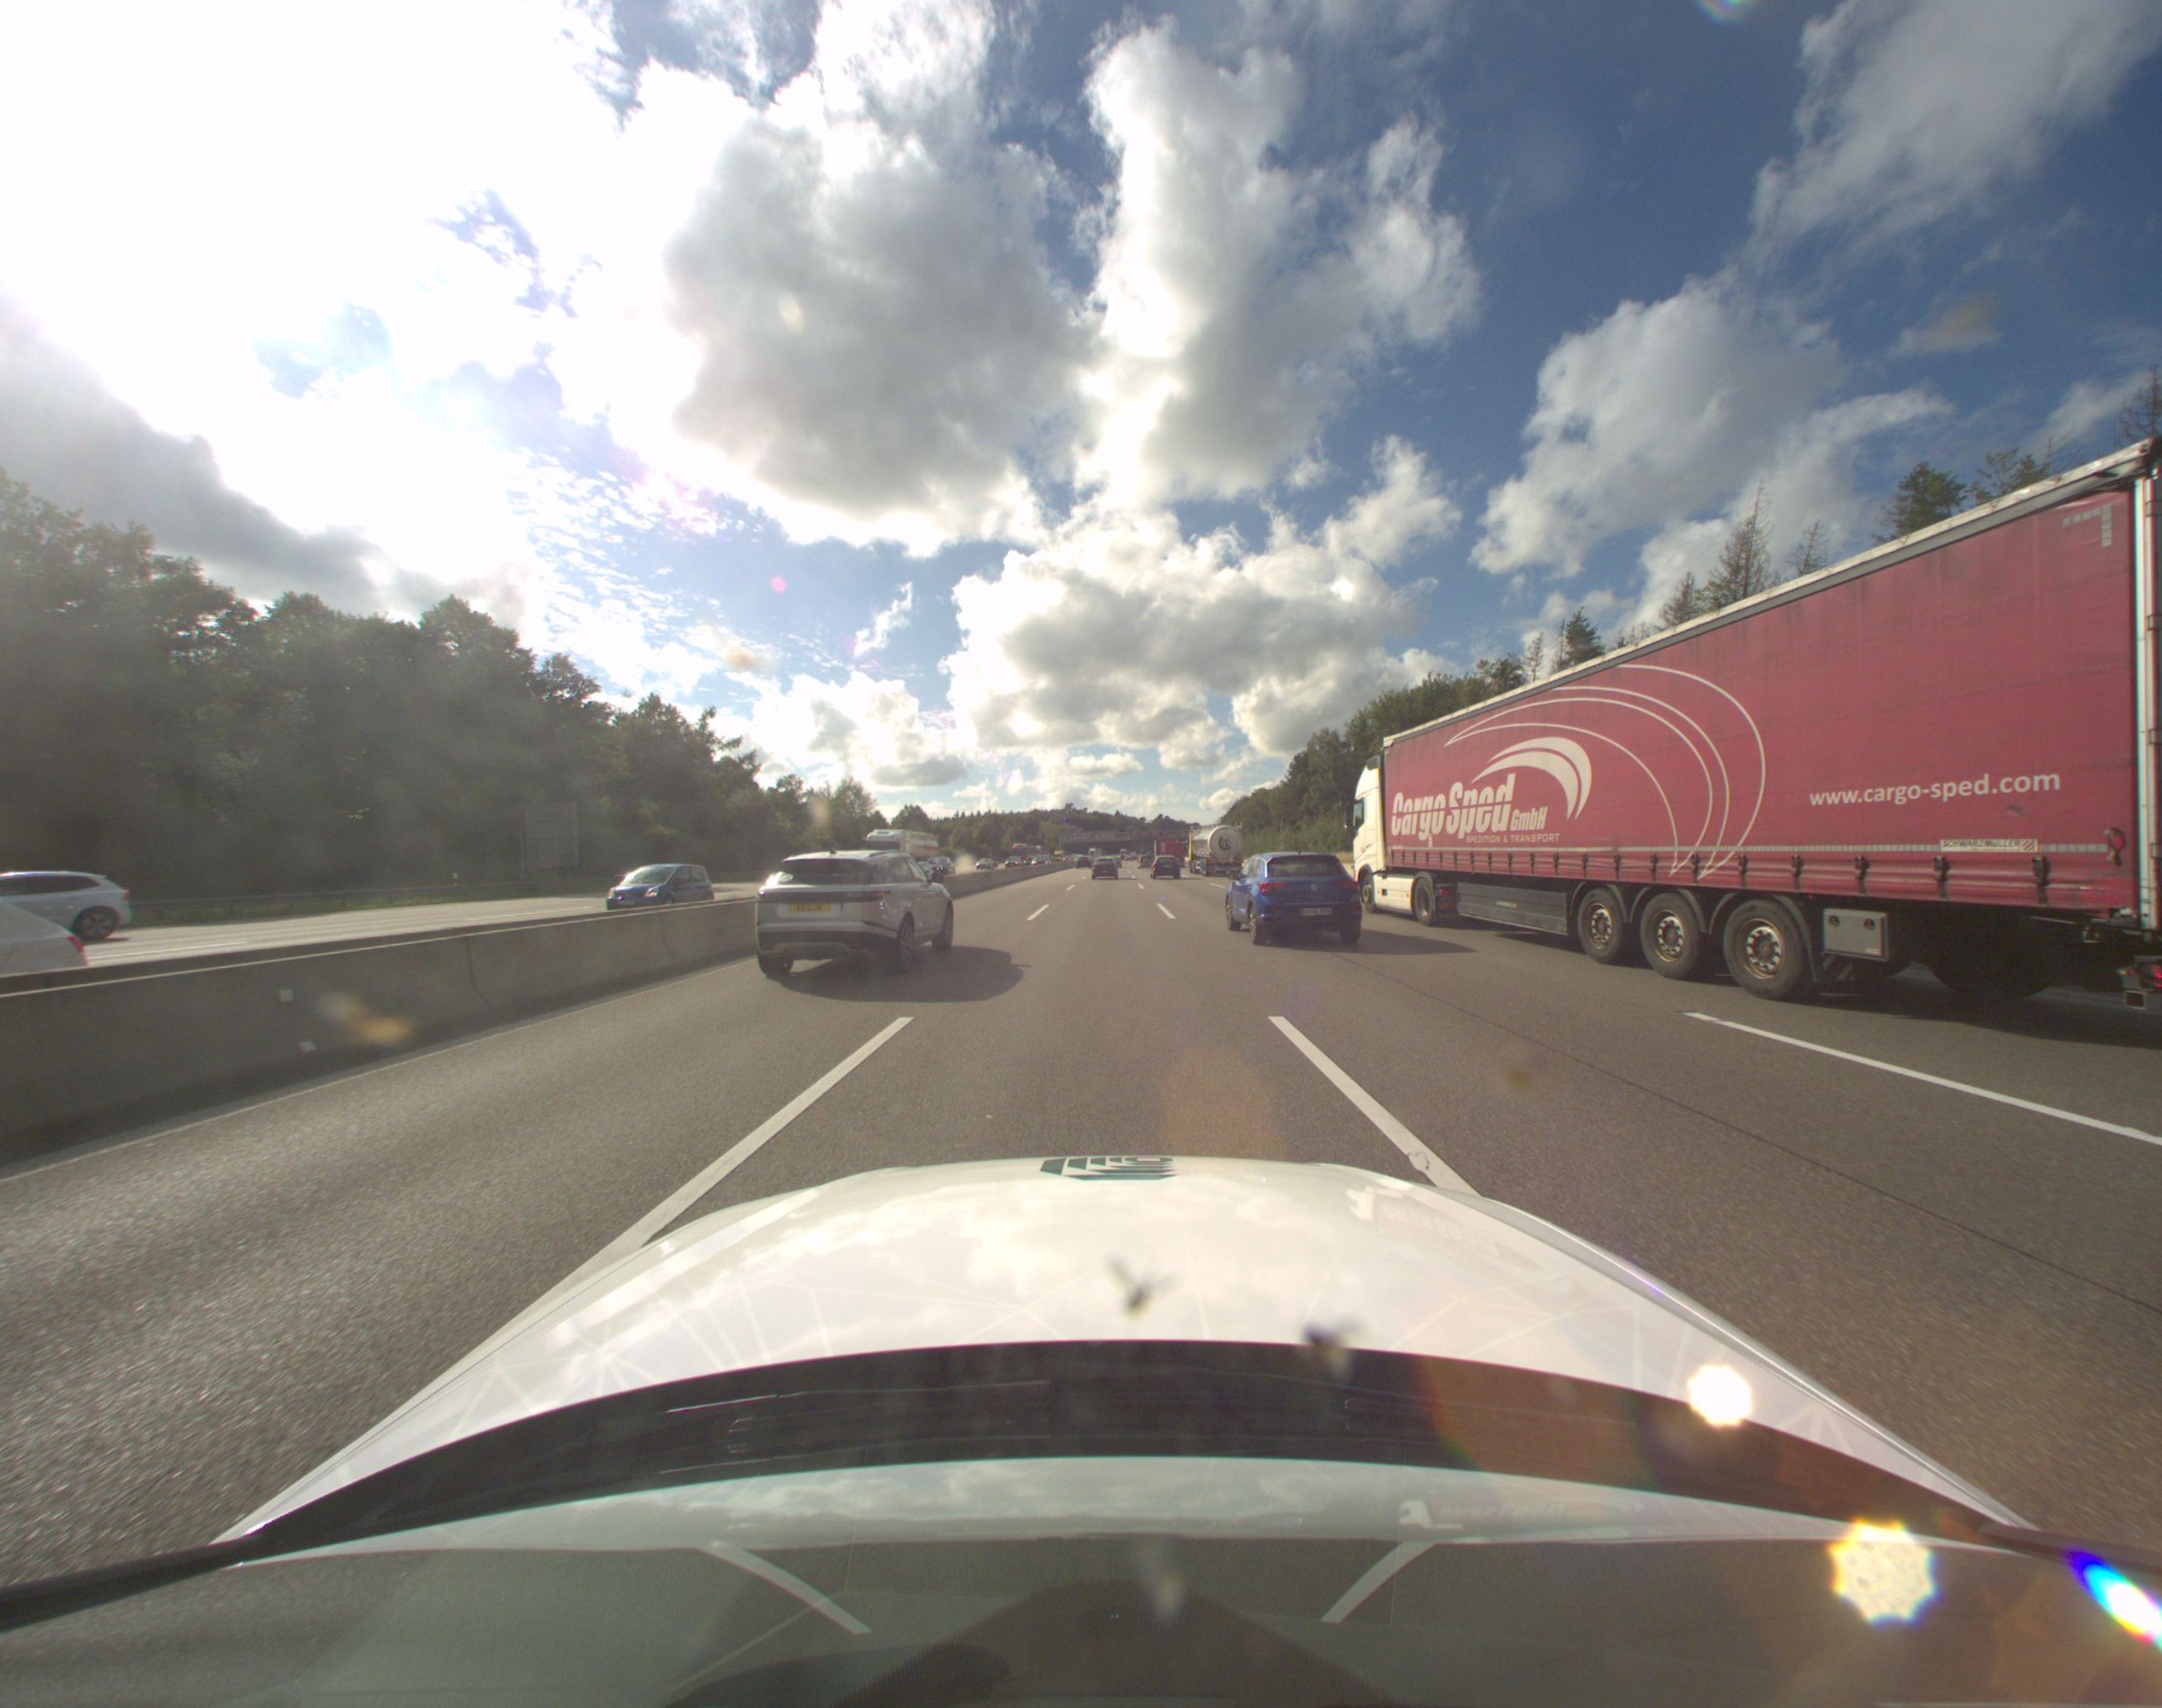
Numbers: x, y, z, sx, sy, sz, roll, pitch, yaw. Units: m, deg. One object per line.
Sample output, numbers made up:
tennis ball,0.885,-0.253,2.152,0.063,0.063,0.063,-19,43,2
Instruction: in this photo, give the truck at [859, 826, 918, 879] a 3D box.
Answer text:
truck,-15.084,-0.107,64.310,2.776,3.945,6.450,-1,0,3

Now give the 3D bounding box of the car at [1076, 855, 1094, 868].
car,0.484,0.881,100.493,1.934,1.457,4.003,-2,0,3

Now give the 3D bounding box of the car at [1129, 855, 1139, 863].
car,11.050,1.006,170.889,1.935,1.457,4.001,-2,0,1

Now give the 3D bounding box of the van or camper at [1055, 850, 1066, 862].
van or camper,-5.112,0.466,202.882,2.365,2.891,6.508,-2,0,2

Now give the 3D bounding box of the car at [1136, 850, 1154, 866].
car,7.464,0.437,95.463,1.887,1.857,4.102,0,0,1

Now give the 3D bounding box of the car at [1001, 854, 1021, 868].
car,-9.287,0.902,108.401,1.986,1.664,4.689,-2,0,2

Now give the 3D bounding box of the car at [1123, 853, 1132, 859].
car,11.804,0.590,205.807,2.070,1.457,4.001,-2,0,1

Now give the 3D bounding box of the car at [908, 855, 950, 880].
car,-10.876,0.931,58.588,1.848,1.670,5.213,-2,0,2

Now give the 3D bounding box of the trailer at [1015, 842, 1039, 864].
trailer,-9.829,-0.223,149.508,2.954,3.858,11.293,-1,0,4

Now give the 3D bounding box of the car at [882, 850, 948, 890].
car,-8.367,0.776,41.590,2.163,1.878,4.983,-2,0,2

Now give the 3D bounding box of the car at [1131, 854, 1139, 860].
car,15.103,0.896,228.256,2.070,1.457,4.001,-2,0,1

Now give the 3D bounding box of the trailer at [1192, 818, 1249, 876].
trailer,10.038,-0.443,59.932,2.638,3.767,11.868,-2,0,3

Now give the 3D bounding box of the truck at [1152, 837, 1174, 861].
truck,14.061,-0.771,140.246,3.107,3.935,10.415,-2,0,2

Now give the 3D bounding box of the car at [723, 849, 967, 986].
car,-3.194,0.755,12.375,1.999,1.616,5.303,-1,0,2

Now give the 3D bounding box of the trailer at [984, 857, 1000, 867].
trailer,-12.297,1.087,112.483,1.528,1.402,4.184,-1,0,4

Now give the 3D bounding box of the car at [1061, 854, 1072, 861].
car,-3.383,0.893,191.041,1.835,1.596,4.920,-2,0,5

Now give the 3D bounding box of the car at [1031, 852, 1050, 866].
car,-5.324,0.667,107.996,2.147,1.700,5.352,-2,0,2

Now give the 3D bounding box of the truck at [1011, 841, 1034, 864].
truck,-10.272,-0.282,143.555,2.954,3.858,6.772,-1,0,4

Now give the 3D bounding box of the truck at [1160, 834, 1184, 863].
truck,11.857,-0.728,106.883,2.699,3.718,5.821,-1,0,2

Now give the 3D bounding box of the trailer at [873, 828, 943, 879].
trailer,-14.750,-0.047,70.710,2.776,3.945,12.261,-1,0,3

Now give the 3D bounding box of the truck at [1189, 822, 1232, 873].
truck,10.299,-0.474,65.433,2.638,3.823,6.086,-2,0,3

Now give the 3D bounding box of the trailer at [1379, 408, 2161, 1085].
trailer,8.015,-0.669,11.691,2.763,4.045,13.718,-1,0,2

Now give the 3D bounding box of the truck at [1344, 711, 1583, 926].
truck,8.215,-0.667,18.393,2.764,4.045,5.775,-1,0,2

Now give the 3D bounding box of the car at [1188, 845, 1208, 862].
car,13.666,-0.084,95.449,1.886,1.957,4.103,0,0,2

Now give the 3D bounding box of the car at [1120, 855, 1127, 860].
car,12.636,0.990,243.523,1.920,1.457,4.398,-2,0,4

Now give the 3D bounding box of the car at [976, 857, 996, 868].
car,-12.547,1.090,108.062,1.819,1.414,4.680,-2,0,4

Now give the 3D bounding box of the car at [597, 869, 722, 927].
car,-12.781,1.274,24.970,1.623,1.512,4.001,-2,0,1

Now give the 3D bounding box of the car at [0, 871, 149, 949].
car,-24.567,1.283,18.009,2.163,1.637,4.878,-2,0,2

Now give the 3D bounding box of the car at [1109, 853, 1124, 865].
car,4.663,0.682,105.634,1.814,1.457,4.004,-2,0,3

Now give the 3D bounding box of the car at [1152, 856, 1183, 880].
car,5.583,0.873,53.139,1.814,1.457,4.004,-2,0,4

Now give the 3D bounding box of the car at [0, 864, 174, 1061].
car,-10.045,0.954,5.970,1.906,1.640,4.243,-2,0,2

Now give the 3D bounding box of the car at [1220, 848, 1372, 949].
car,3.740,0.694,14.976,1.766,1.530,4.460,-2,0,2

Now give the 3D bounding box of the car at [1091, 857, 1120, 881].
car,1.637,0.966,54.096,1.815,1.546,4.002,-1,0,2

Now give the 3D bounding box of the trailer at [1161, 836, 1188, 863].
trailer,11.641,-0.577,101.990,2.699,3.231,9.739,-1,1,3
